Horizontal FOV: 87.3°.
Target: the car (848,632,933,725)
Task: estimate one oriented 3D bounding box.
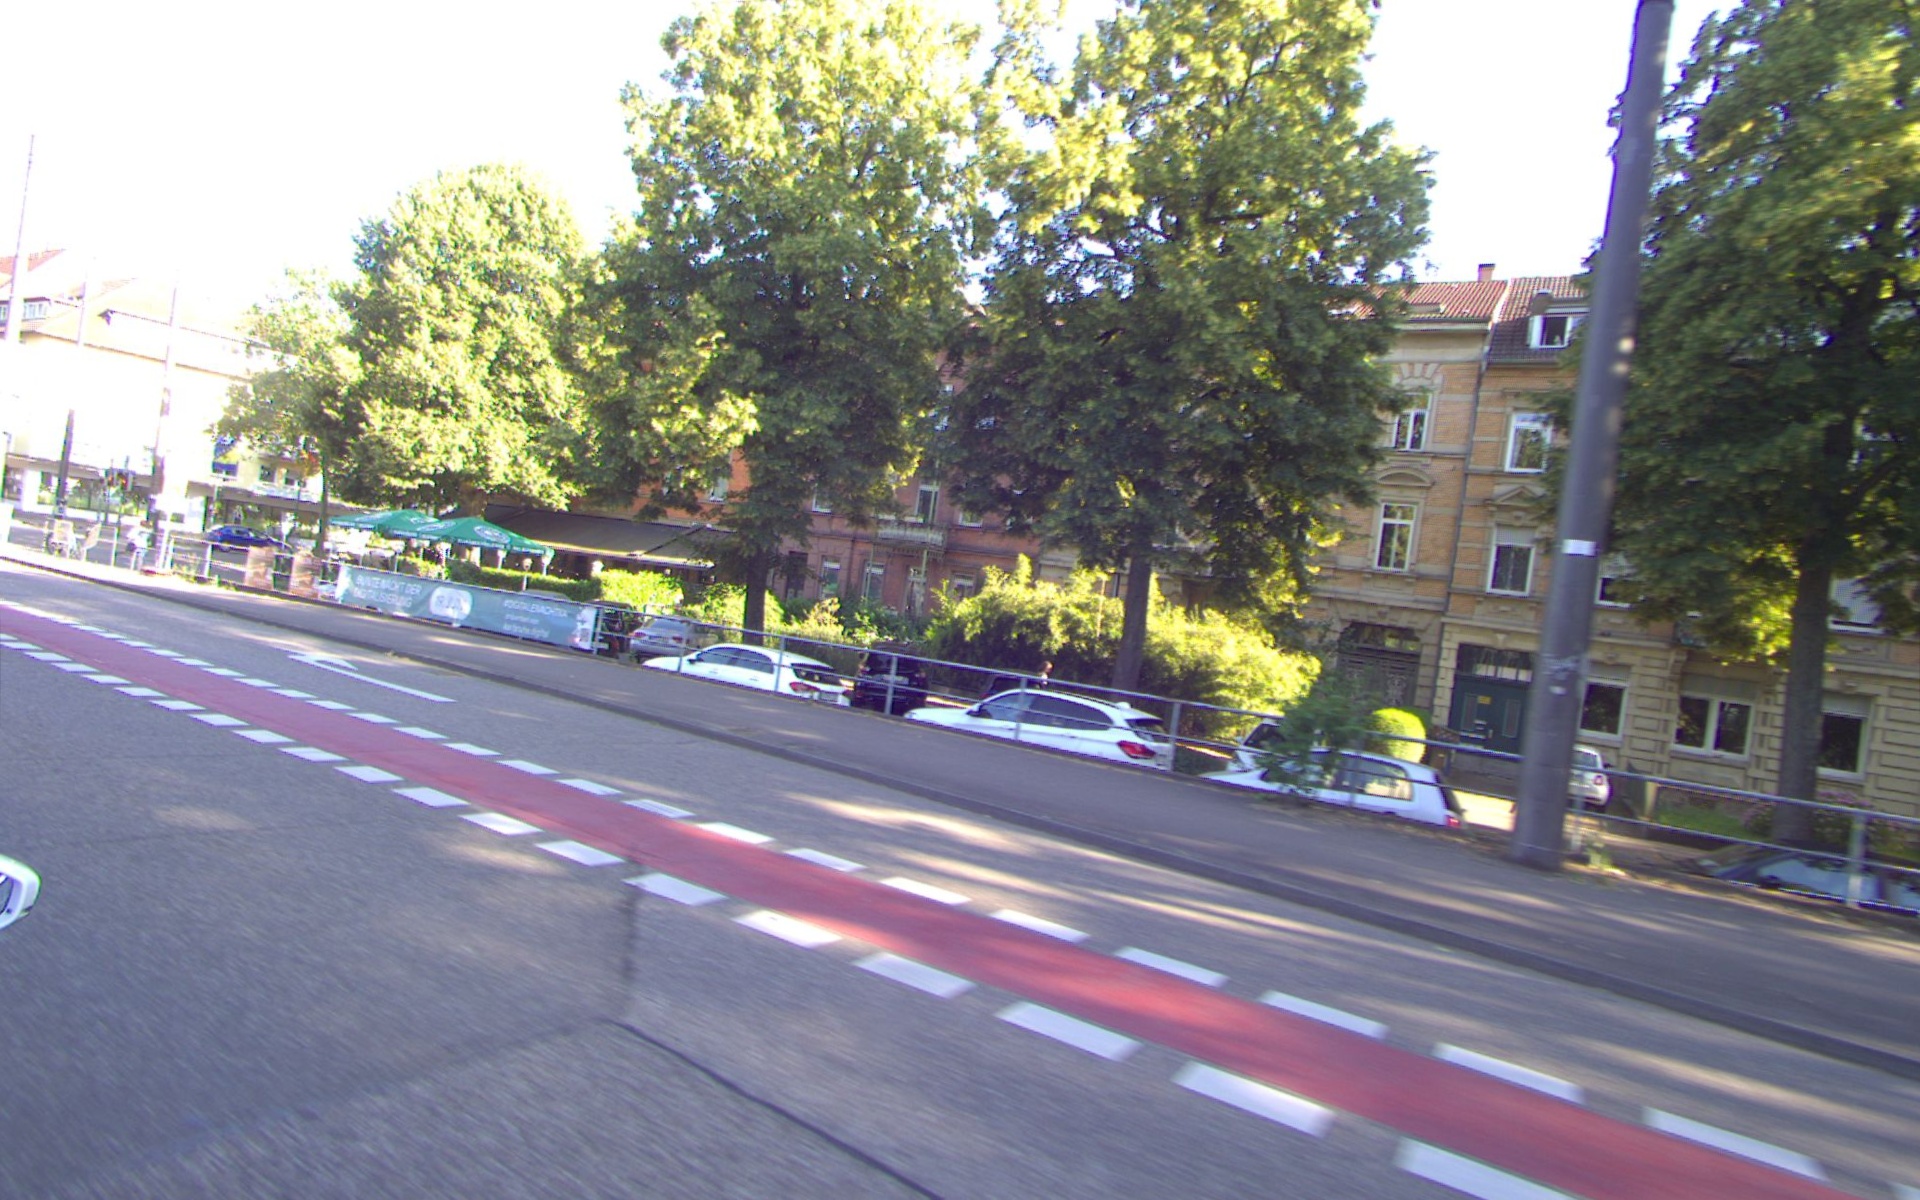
[{"bbox_3d":[-1.790,1.890,25.234,1.768,1.756,3.995,8,0,-6],"label":"car"}]

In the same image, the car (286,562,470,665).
[{"bbox_3d":[-14.156,0.316,24.432,4.285,1.920,1.799,6,-2,30],"label":"car"}]

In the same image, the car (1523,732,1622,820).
[{"bbox_3d":[15.199,4.309,25.109,1.769,1.541,3.572,7,0,29],"label":"car"}]

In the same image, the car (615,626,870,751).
[{"bbox_3d":[-4.015,1.567,18.325,4.369,1.597,1.798,6,-2,32],"label":"car"}]

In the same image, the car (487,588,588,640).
[{"bbox_3d":[-13.611,0.406,32.670,1.748,1.365,3.995,8,0,-5],"label":"car"}]

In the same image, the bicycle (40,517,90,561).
[{"bbox_3d":[-25.614,-1.746,28.790,1.770,1.087,0.499,6,-2,32],"label":"bicycle"}]

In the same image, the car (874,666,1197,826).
[{"bbox_3d":[1.093,2.118,15.399,4.478,1.597,1.798,6,-2,32],"label":"car"}]

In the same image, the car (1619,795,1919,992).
[{"bbox_3d":[9.371,3.134,10.519,3.933,1.324,1.798,6,-2,30],"label":"car"}]

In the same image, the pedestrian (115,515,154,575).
[{"bbox_3d":[-23.320,-1.561,28.422,0.646,1.580,0.625,10,-3,-39],"label":"pedestrian"}]

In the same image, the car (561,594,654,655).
[{"bbox_3d":[-10.907,0.715,31.431,1.769,1.498,3.994,8,0,-7],"label":"car"}]

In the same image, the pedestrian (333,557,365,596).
[{"bbox_3d":[-23.101,-0.895,38.049,0.621,1.352,0.650,7,-3,32],"label":"pedestrian"}]

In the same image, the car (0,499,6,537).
[{"bbox_3d":[-21.200,-1.581,20.259,3.978,1.455,1.804,7,-2,32],"label":"car"}]

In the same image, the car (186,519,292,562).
[{"bbox_3d":[-37.003,-3.013,51.708,1.772,1.528,3.991,7,-2,35],"label":"car"}]

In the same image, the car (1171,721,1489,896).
[{"bbox_3d":[4.801,2.573,13.105,3.517,1.458,1.798,6,-2,30],"label":"car"}]

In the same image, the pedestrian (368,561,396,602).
[{"bbox_3d":[-20.548,-0.651,35.771,0.643,1.352,0.627,10,-3,-28],"label":"pedestrian"}]

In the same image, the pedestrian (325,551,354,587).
[{"bbox_3d":[-25.462,-1.281,41.274,0.621,1.352,0.650,7,-3,32],"label":"pedestrian"}]

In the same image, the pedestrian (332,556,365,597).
[{"bbox_3d":[-22.565,-0.863,37.151,0.621,1.352,0.650,7,-3,32],"label":"pedestrian"}]

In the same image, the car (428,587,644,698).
[{"bbox_3d":[-9.133,0.915,21.666,4.136,1.823,1.800,6,-2,25],"label":"car"}]

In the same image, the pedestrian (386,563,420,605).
[{"bbox_3d":[-19.692,-0.549,35.559,0.621,1.352,0.650,7,-3,32],"label":"pedestrian"}]

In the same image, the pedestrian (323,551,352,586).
[{"bbox_3d":[-26.025,-1.321,42.075,0.621,1.352,0.650,7,-3,32],"label":"pedestrian"}]

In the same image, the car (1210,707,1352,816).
[{"bbox_3d":[6.514,3.119,20.134,1.769,1.532,3.993,8,0,30],"label":"car"}]

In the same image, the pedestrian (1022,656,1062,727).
[{"bbox_3d":[2.157,2.408,26.426,0.621,1.767,0.649,7,0,27],"label":"pedestrian"}]

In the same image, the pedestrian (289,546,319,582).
[{"bbox_3d":[-26.742,-1.464,40.988,0.621,1.352,0.650,7,-3,32],"label":"pedestrian"}]

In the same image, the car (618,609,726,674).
[{"bbox_3d":[-8.248,1.127,29.187,1.929,1.424,4.246,8,0,-3],"label":"car"}]

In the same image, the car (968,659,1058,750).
[{"bbox_3d":[1.222,2.380,23.839,1.766,1.532,3.999,8,0,2],"label":"car"}]
